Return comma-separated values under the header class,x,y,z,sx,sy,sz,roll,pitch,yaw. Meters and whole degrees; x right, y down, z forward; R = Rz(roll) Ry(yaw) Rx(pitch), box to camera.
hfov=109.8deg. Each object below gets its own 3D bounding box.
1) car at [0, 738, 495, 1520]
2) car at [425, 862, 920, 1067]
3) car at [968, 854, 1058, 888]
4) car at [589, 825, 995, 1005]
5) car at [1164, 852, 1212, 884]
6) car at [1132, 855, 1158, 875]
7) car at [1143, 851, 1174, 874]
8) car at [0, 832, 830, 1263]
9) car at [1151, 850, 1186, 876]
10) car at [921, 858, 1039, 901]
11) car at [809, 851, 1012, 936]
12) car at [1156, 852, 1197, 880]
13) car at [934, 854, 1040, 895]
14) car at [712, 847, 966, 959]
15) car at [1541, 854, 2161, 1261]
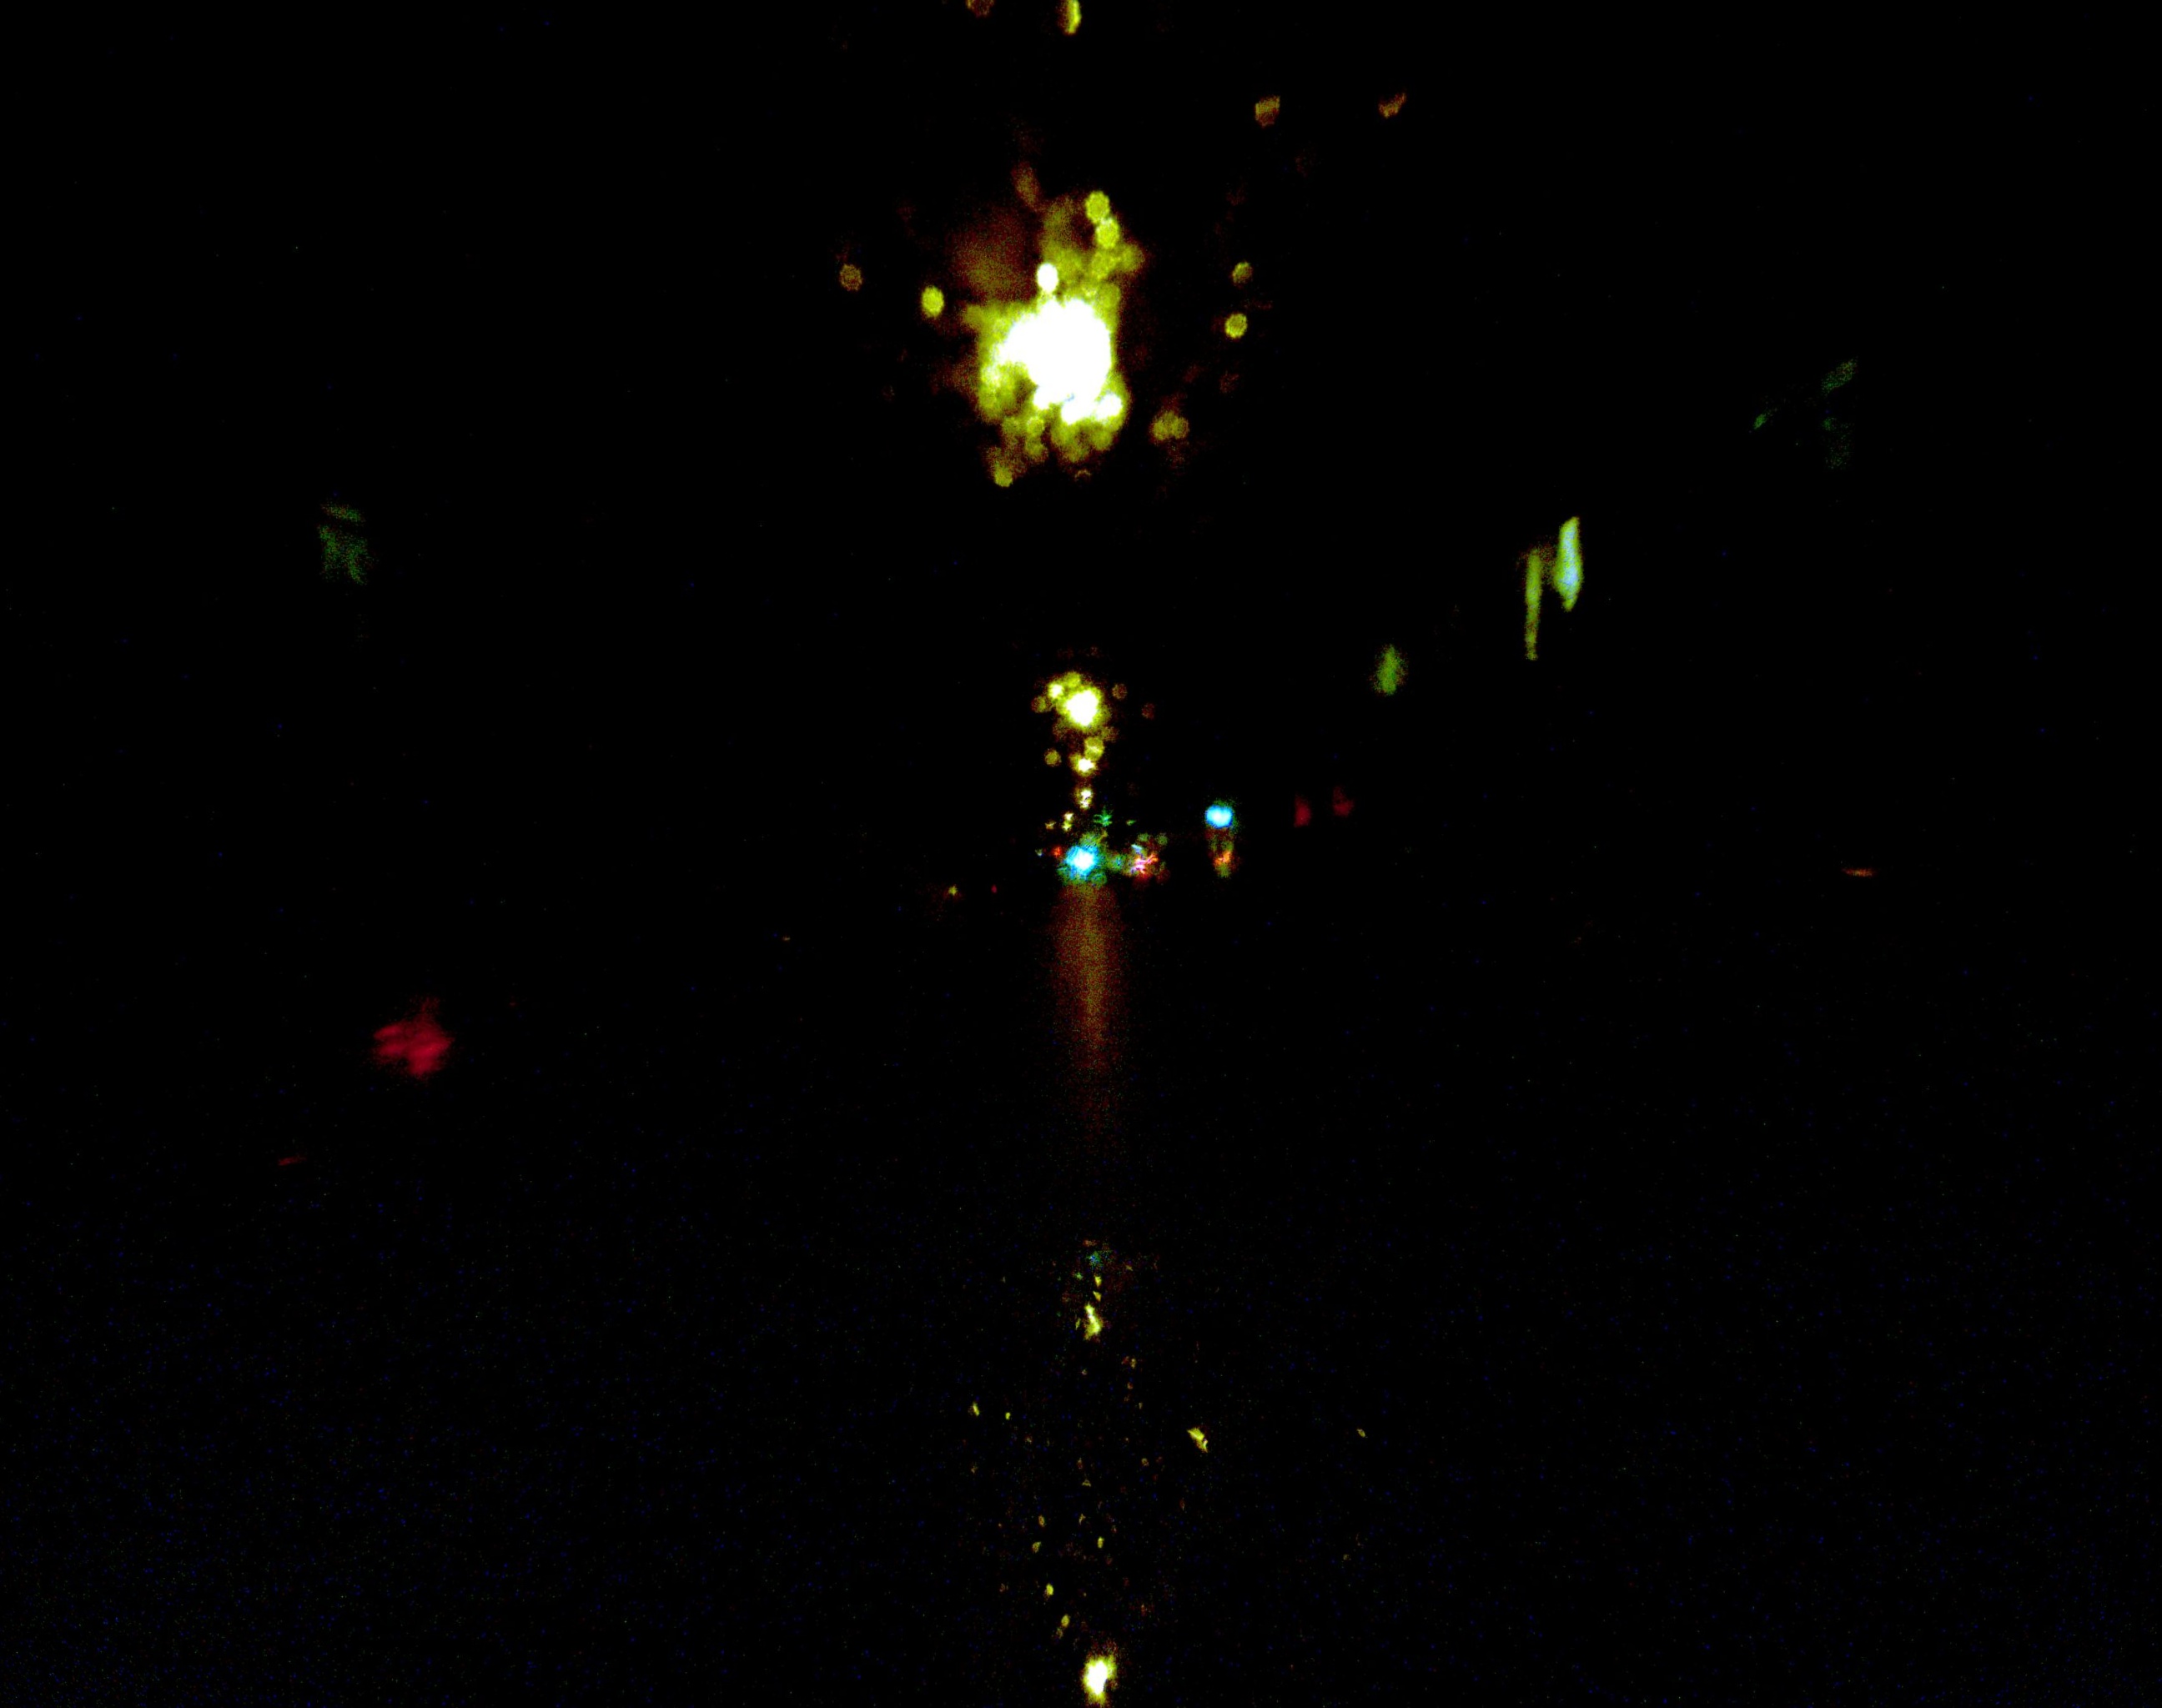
class,x,y,z,sx,sy,sz,roll,pitch,yaw
car,-4.023,0.651,1.938,3.942,1.931,1.738,1,0,-36
car,-3.829,0.890,7.616,3.941,1.541,1.739,1,0,-33
car,-3.278,0.821,36.519,3.939,1.553,1.707,1,0,-23
car,-3.765,0.710,10.320,4.719,1.968,1.975,1,0,-29
car,5.263,0.659,37.814,1.851,1.470,3.735,-2,0,0
car,5.210,0.864,62.367,1.851,1.571,3.735,-2,0,0
car,5.645,0.567,55.663,1.851,1.571,3.735,-2,0,0
car,-3.820,0.821,4.689,3.942,1.782,1.738,1,0,-36
car,5.635,0.553,49.213,1.851,1.571,3.735,-2,0,0
car,-3.668,0.921,27.598,3.939,1.455,1.707,1,0,-23
car,-3.613,0.794,16.059,3.938,1.610,1.707,1,0,-21
car,5.413,0.670,43.430,1.851,1.470,3.735,-2,0,0
car,-3.823,0.843,30.939,3.939,1.553,1.707,1,0,-23
car,-4.154,0.798,13.242,3.938,1.732,1.707,1,0,-21
car,4.813,0.773,4.720,1.720,1.470,3.786,-2,0,3
